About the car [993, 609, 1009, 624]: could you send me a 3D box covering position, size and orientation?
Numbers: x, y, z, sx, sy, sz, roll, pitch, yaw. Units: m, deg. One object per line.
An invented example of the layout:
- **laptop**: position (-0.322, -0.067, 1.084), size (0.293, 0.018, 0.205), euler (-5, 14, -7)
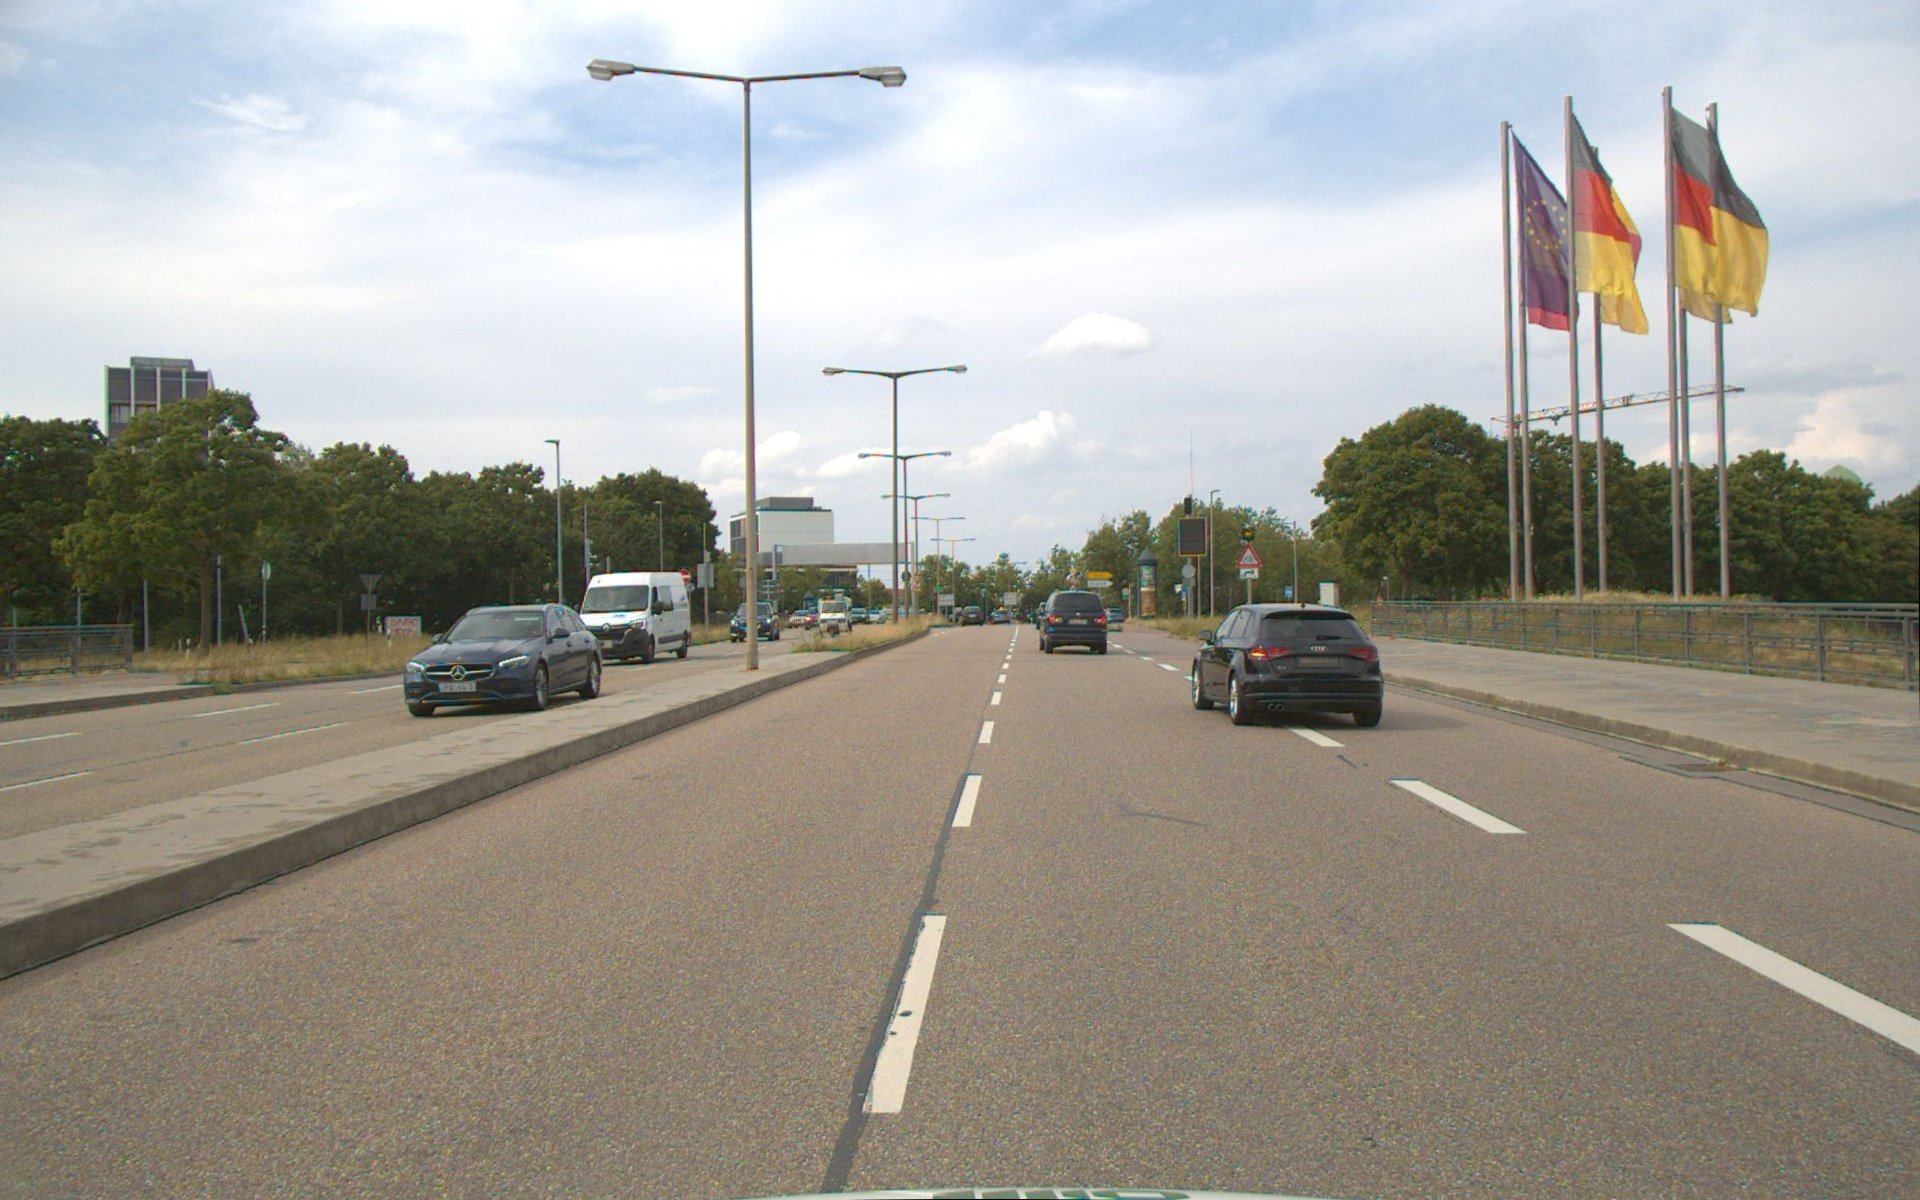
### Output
- **car**: position (4.432, 1.758, 177.921), size (1.695, 1.553, 4.115), euler (0, 0, 1)

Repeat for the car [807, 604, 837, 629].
- **car**: position (-9.590, 1.152, 115.277), size (1.617, 1.602, 4.338), euler (-3, 0, 0)

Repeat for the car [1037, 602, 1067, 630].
- **car**: position (5.550, 0.937, 100.079), size (1.695, 1.682, 4.115), euler (0, 0, 1)

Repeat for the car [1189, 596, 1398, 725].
- **car**: position (3.996, 0.677, 20.455), size (1.695, 1.419, 4.114), euler (-1, 0, -1)

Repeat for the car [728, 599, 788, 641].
- **car**: position (-8.602, 0.808, 70.709), size (1.710, 1.613, 4.588), euler (-3, 0, 3)

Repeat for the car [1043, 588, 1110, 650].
- **car**: position (3.285, 0.533, 47.070), size (1.695, 1.682, 4.115), euler (0, 0, 1)

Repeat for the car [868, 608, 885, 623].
- **car**: position (-9.384, 1.771, 186.733), size (1.710, 1.626, 4.564), euler (-2, 0, -1)

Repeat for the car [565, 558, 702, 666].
- **car**: position (-8.897, 0.280, 45.724), size (2.010, 2.689, 6.403), euler (-3, 0, 4)

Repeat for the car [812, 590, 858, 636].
- **car**: position (-5.566, 0.558, 73.837), size (1.508, 1.903, 3.572), euler (-3, 0, 3)

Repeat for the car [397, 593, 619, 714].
- **car**: position (-6.398, 0.717, 23.975), size (1.702, 1.506, 4.777), euler (-3, -1, 2)

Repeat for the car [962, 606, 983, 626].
- **car**: position (1.063, 1.319, 139.015), size (1.695, 1.682, 4.115), euler (0, 0, 1)

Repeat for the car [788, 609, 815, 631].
- **car**: position (-13.333, 1.704, 139.122), size (1.953, 1.780, 3.999), euler (0, 0, -1)

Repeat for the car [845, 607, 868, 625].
- **car**: position (-9.183, 1.442, 146.815), size (1.709, 1.501, 4.565), euler (-2, 0, 0)
